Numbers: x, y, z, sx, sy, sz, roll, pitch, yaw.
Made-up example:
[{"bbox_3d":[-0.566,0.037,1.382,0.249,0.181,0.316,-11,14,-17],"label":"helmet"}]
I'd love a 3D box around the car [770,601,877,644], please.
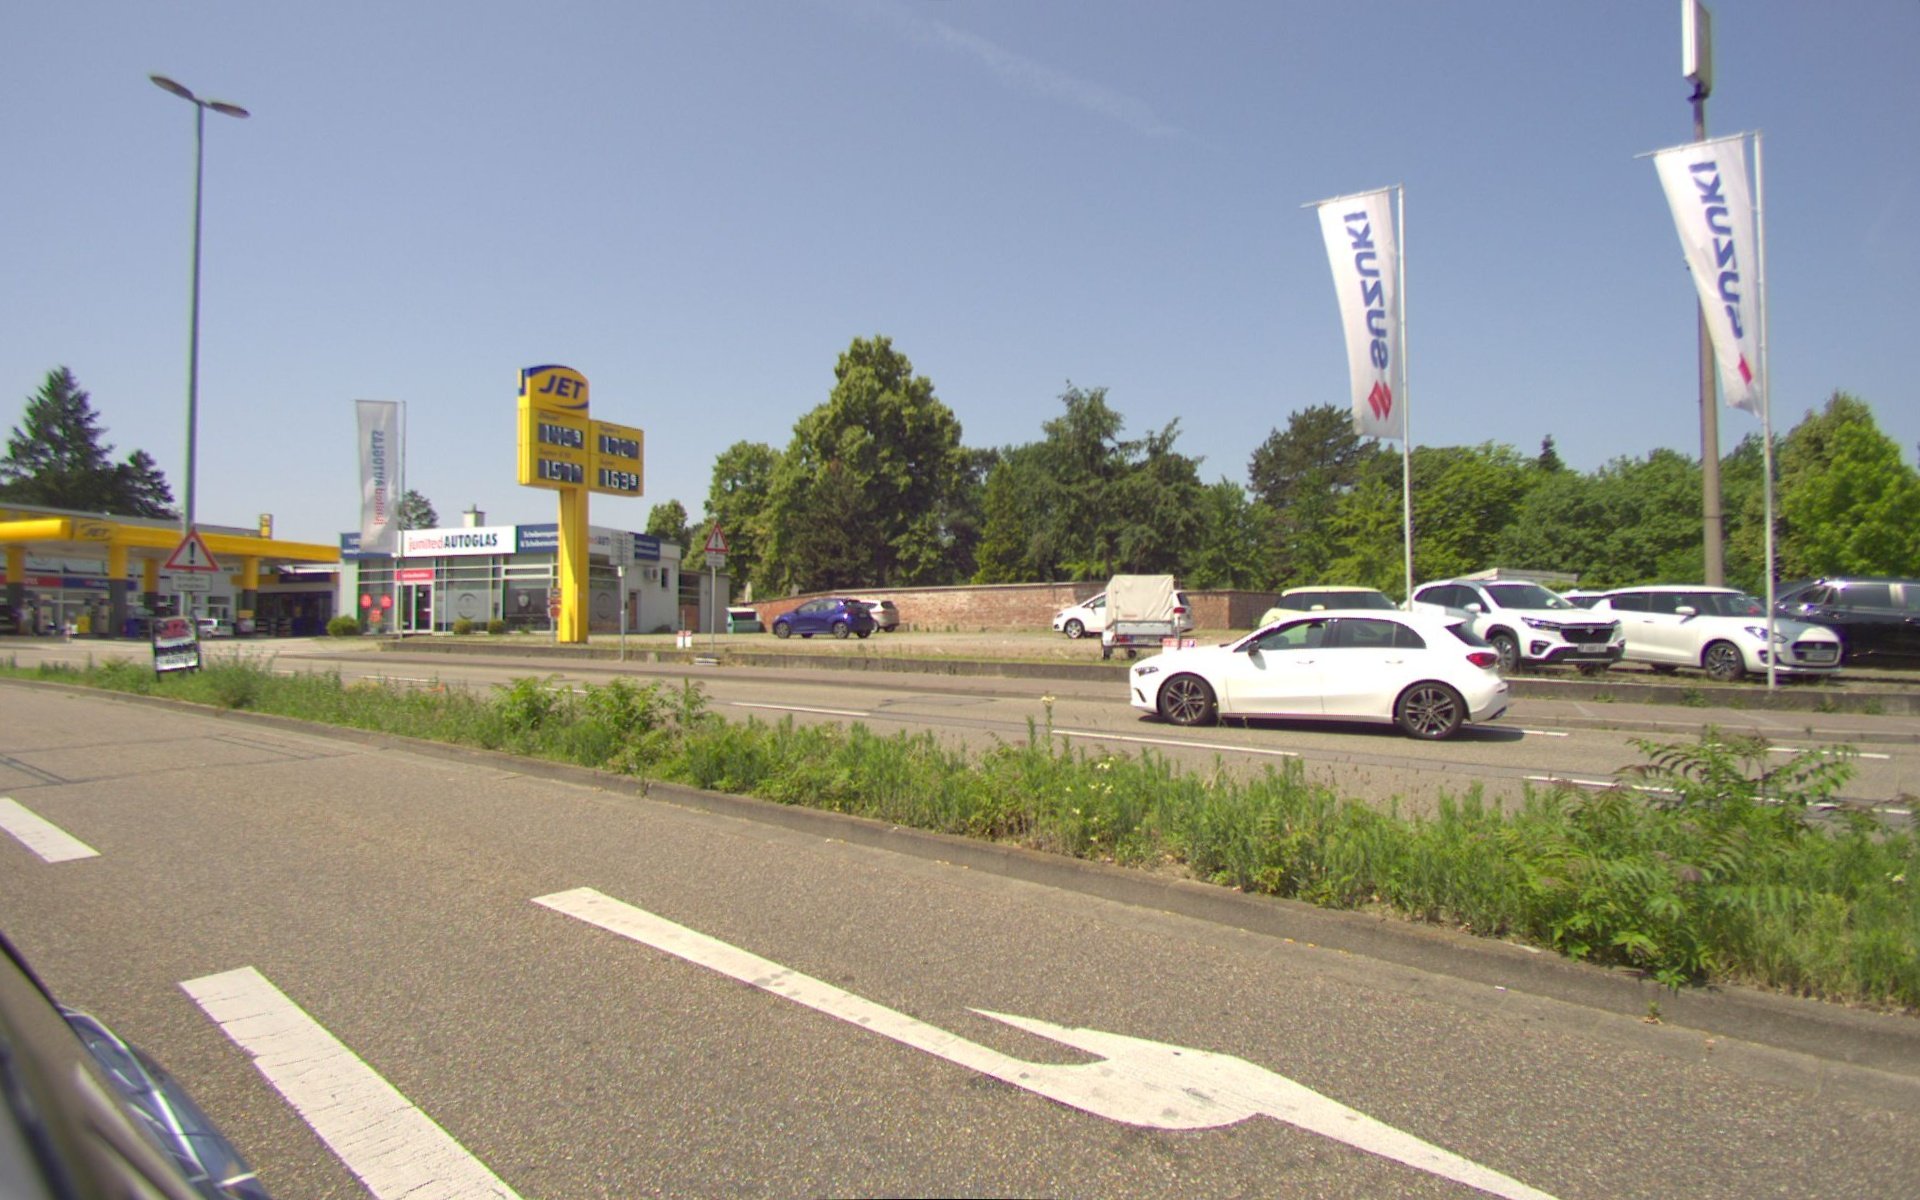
[{"bbox_3d":[-5.034,0.829,37.383,3.612,1.517,1.679,-1,-1,26],"label":"car"}]

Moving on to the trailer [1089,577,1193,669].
[{"bbox_3d":[3.572,0.452,20.289,1.670,1.717,2.433,0,-1,1],"label":"trailer"}]

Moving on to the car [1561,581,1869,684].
[{"bbox_3d":[11.992,0.482,16.446,1.689,1.443,3.969,1,0,-8],"label":"car"}]

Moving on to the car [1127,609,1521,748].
[{"bbox_3d":[4.364,0.842,12.348,4.246,1.435,1.857,0,-1,27],"label":"car"}]

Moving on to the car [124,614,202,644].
[{"bbox_3d":[-43.467,1.556,55.181,4.189,1.554,1.643,-1,0,25],"label":"car"}]

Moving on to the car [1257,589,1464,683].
[{"bbox_3d":[7.160,0.594,18.541,1.729,1.521,3.829,0,0,-11],"label":"car"}]

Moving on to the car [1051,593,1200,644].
[{"bbox_3d":[5.604,0.639,34.386,4.729,1.662,1.680,-1,-1,24],"label":"car"}]

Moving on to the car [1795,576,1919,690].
[{"bbox_3d":[15.665,0.518,15.753,4.015,1.737,1.819,0,-1,44],"label":"car"}]

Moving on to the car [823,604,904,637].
[{"bbox_3d":[-4.611,0.968,48.412,3.612,1.517,1.606,-1,-1,26],"label":"car"}]

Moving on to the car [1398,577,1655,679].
[{"bbox_3d":[9.563,0.442,17.517,1.889,1.552,3.968,0,0,-6],"label":"car"}]
